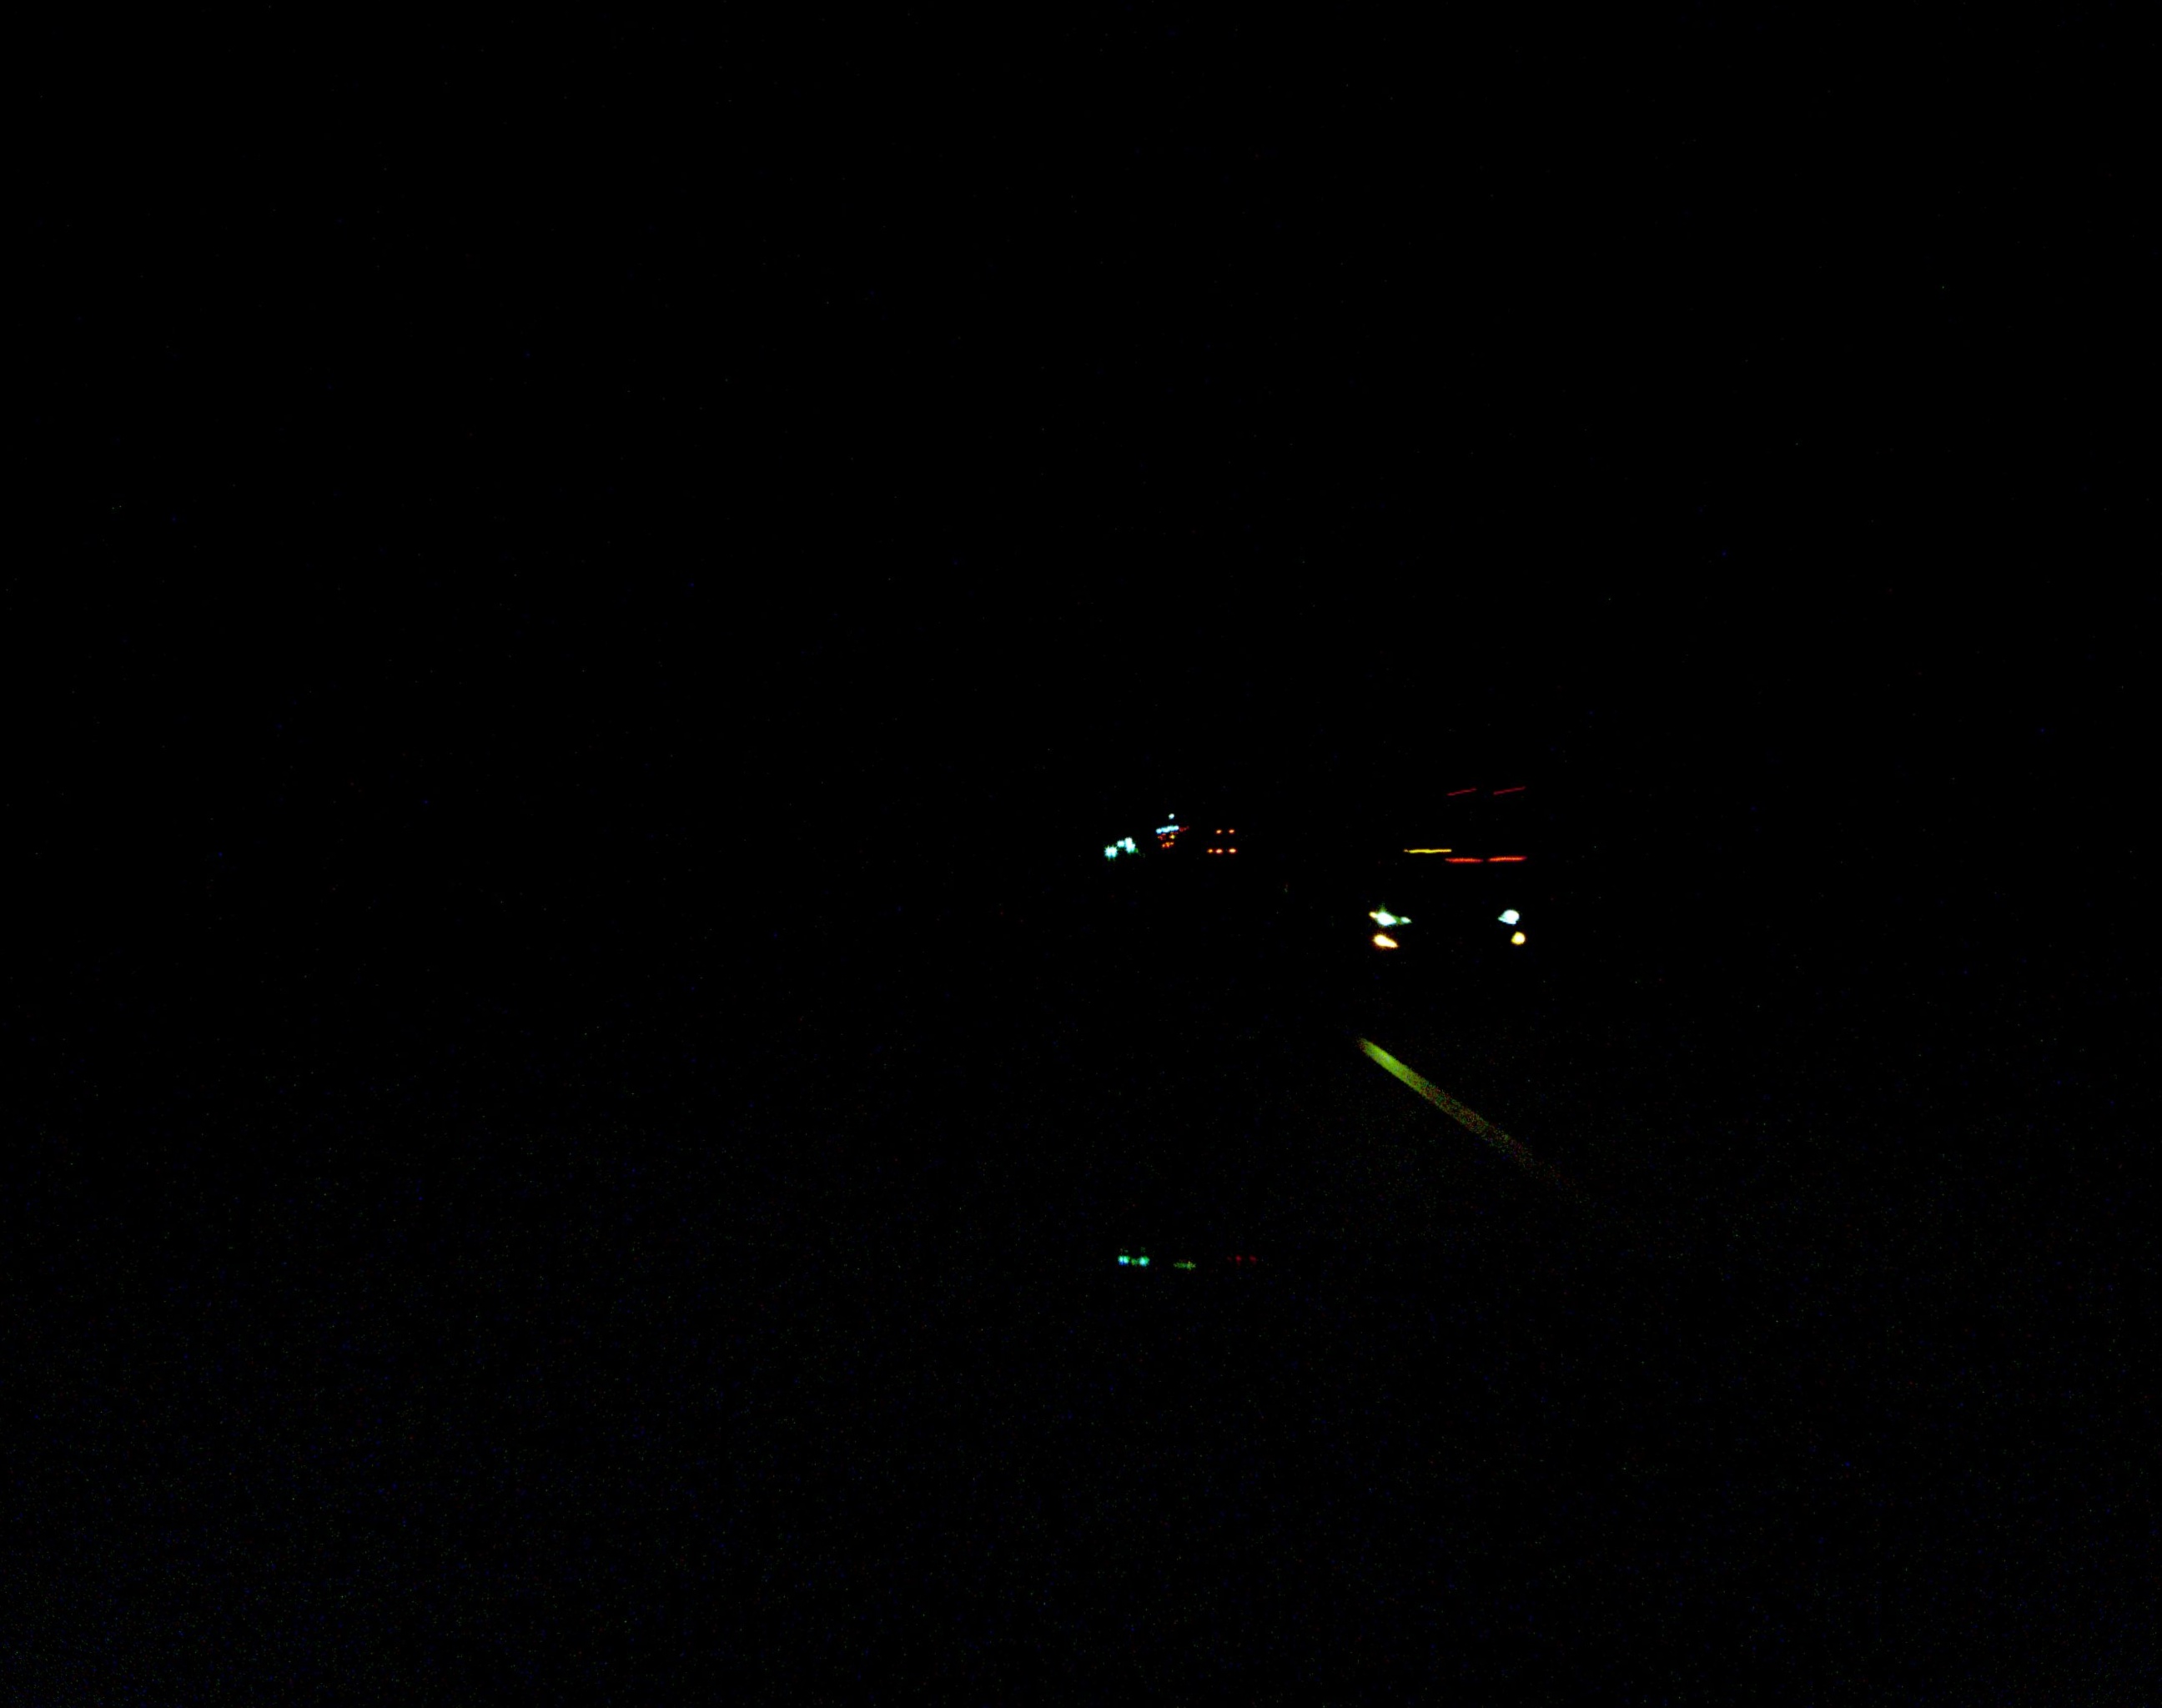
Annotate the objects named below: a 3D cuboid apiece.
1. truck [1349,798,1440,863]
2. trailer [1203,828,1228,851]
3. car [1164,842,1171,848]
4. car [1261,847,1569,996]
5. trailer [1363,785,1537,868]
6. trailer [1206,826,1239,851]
[{"bbox_3d":[20.682,-1.499,50.609,3.438,3.957,6.206,-2,1,1],"label":"truck"},{"bbox_3d":[24.644,-2.686,139.707,3.438,3.957,7.352,-2,1,2],"label":"trailer"},{"bbox_3d":[27.593,-2.858,242.264,1.827,1.684,4.672,-2,2,2],"label":"car"},{"bbox_3d":[4.244,0.749,10.967,1.998,1.509,5.651,-2,0,1],"label":"car"},{"bbox_3d":[20.616,-1.426,44.086,3.438,3.957,13.810,-2,1,1],"label":"trailer"},{"bbox_3d":[24.411,-2.597,132.192,3.438,3.957,14.048,-2,1,2],"label":"trailer"}]
